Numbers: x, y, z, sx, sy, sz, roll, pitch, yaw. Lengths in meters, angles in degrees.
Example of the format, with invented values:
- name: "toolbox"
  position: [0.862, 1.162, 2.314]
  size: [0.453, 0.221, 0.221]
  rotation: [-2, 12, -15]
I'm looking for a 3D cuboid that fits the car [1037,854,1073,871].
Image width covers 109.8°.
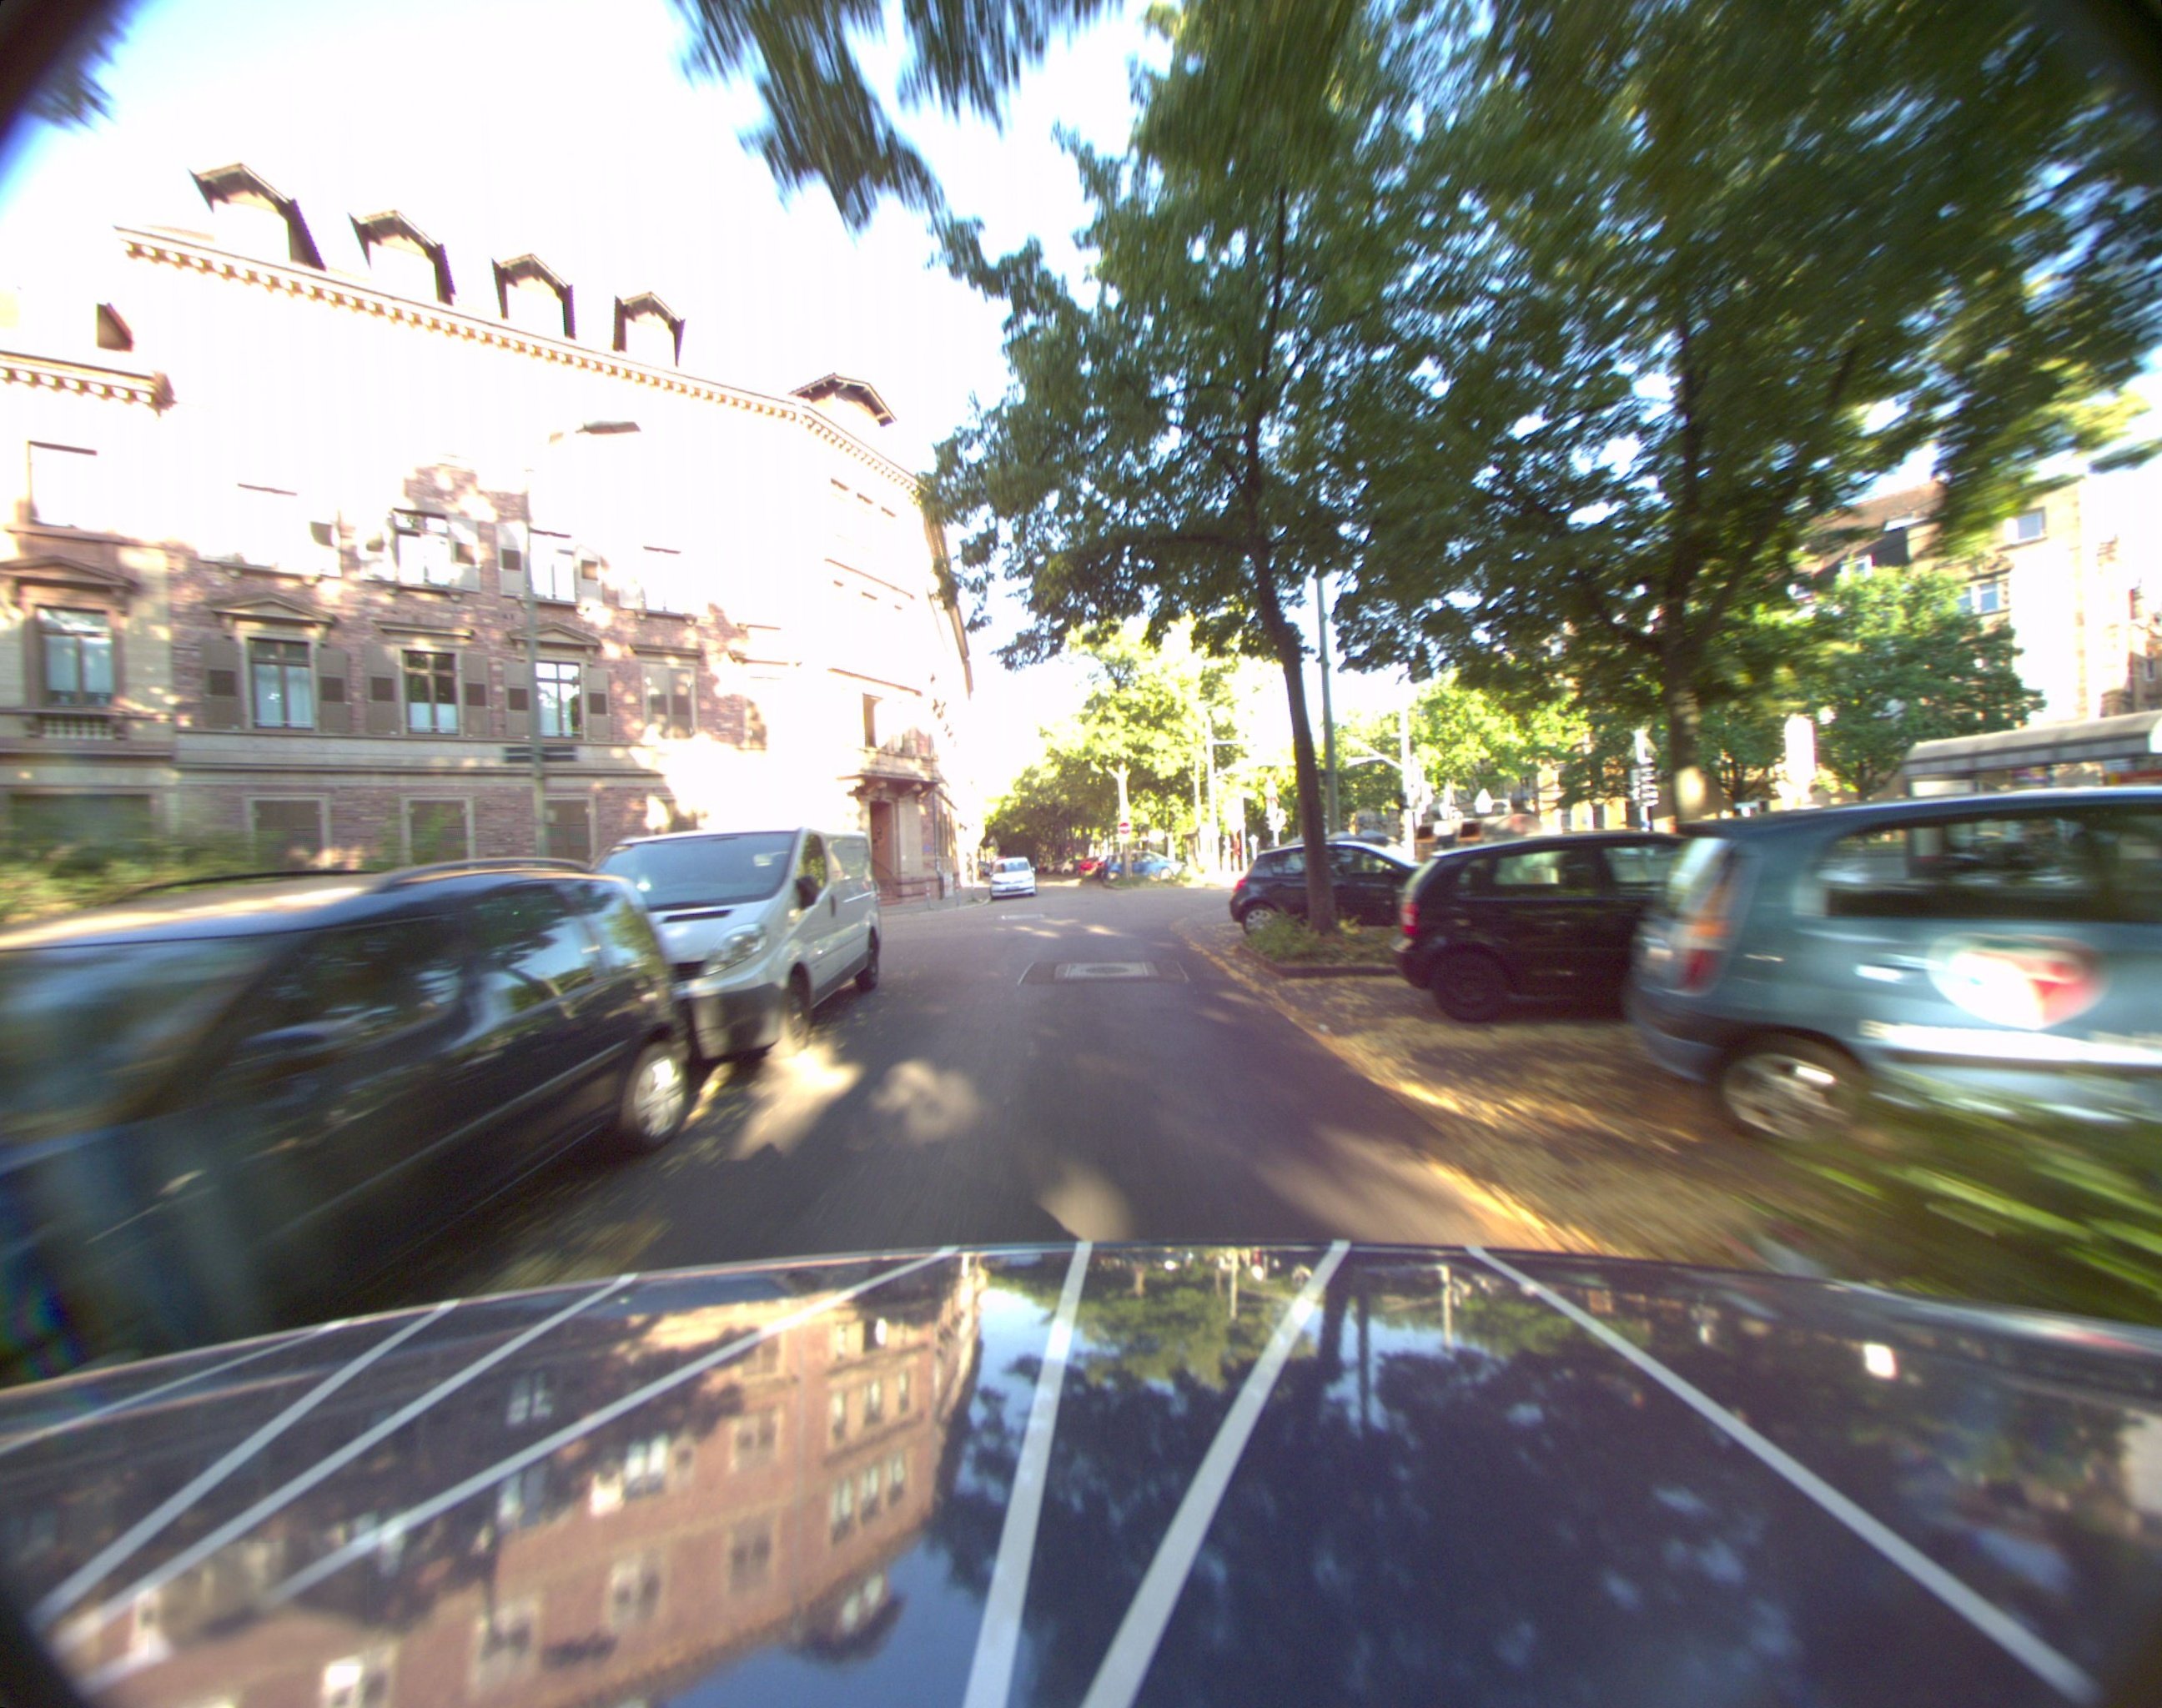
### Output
- name: "car"
  position: [-3.122, 1.073, 93.384]
  size: [4.240, 1.658, 1.634]
  rotation: [-6, 1, -1]

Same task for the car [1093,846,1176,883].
- name: "car"
  position: [3.032, 0.602, 43.087]
  size: [4.235, 1.613, 1.637]
  rotation: [-5, 1, 23]

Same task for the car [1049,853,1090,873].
- name: "car"
  position: [-1.198, 0.948, 81.922]
  size: [4.240, 1.658, 1.634]
  rotation: [-6, 1, -1]

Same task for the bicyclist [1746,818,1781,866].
- name: "bicyclist"
  position: [23.168, -0.395, 25.792]
  size: [0.680, 1.581, 0.552]
  rotation: [-2, 1, -4]

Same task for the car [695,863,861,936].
- name: "car"
  position: [-8.271, 1.219, 20.794]
  size: [4.005, 1.637, 1.681]
  rotation: [-3, -2, -28]

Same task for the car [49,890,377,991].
- name: "car"
  position: [-17.271, 1.666, 15.426]
  size: [4.005, 1.555, 1.681]
  rotation: [-3, -2, -28]

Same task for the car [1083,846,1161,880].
- name: "car"
  position: [2.473, 0.549, 45.828]
  size: [4.235, 1.613, 1.637]
  rotation: [-5, 1, 23]

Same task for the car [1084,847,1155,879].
- name: "car"
  position: [2.536, 0.601, 49.791]
  size: [4.235, 1.613, 1.637]
  rotation: [-5, 1, 23]

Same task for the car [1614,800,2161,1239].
- name: "car"
  position: [4.504, 0.577, 3.308]
  size: [3.346, 1.558, 1.574]
  rotation: [-5, -1, 30]

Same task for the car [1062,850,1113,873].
- name: "car"
  position: [0.574, 0.685, 69.272]
  size: [4.235, 1.658, 1.637]
  rotation: [-5, 1, 23]

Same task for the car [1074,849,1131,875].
- name: "car"
  position: [1.782, 0.674, 62.690]
  size: [4.235, 1.658, 1.637]
  rotation: [-5, 1, 23]

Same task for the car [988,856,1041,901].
- name: "car"
  position: [-2.905, 0.982, 32.417]
  size: [1.942, 1.613, 4.240]
  rotation: [-6, 1, -7]

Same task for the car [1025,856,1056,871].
- name: "car"
  position: [-5.887, 1.381, 111.059]
  size: [4.240, 1.658, 1.634]
  rotation: [-6, 1, -1]

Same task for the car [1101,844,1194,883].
- name: "car"
  position: [3.499, 0.516, 40.068]
  size: [4.434, 1.613, 1.637]
  rotation: [-5, 1, 23]

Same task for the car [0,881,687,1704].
- name: "car"
  position: [-3.091, 0.997, 2.508]
  size: [1.571, 1.605, 3.894]
  rotation: [-3, 0, -2]

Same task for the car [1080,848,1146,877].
- name: "car"
  position: [2.241, 0.614, 53.862]
  size: [4.235, 1.658, 1.637]
  rotation: [-5, 1, 23]

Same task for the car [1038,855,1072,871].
- name: "car"
  position: [-3.344, 1.151, 98.479]
  size: [4.240, 1.658, 1.634]
  rotation: [-6, 1, -1]

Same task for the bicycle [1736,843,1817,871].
- name: "bicycle"
  position: [23.610, 0.108, 25.822]
  size: [2.266, 0.853, 0.642]
  rotation: [-2, 0, -4]

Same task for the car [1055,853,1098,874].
- name: "car"
  position: [-0.443, 0.984, 77.689]
  size: [4.240, 1.658, 1.634]
  rotation: [-6, 1, -1]

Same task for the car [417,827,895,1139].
- name: "car"
  position: [-3.412, 0.833, 7.677]
  size: [1.971, 1.924, 5.453]
  rotation: [-3, 0, -4]

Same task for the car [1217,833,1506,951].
- name: "car"
  position: [4.303, 0.607, 11.805]
  size: [3.888, 1.440, 1.637]
  rotation: [-5, 1, 28]

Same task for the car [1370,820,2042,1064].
- name: "car"
  position: [4.452, 0.649, 6.123]
  size: [3.687, 1.440, 1.637]
  rotation: [-5, 1, 28]

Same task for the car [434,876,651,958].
- name: "car"
  position: [-12.716, 1.456, 18.260]
  size: [4.005, 1.555, 1.681]
  rotation: [-3, -2, -28]
